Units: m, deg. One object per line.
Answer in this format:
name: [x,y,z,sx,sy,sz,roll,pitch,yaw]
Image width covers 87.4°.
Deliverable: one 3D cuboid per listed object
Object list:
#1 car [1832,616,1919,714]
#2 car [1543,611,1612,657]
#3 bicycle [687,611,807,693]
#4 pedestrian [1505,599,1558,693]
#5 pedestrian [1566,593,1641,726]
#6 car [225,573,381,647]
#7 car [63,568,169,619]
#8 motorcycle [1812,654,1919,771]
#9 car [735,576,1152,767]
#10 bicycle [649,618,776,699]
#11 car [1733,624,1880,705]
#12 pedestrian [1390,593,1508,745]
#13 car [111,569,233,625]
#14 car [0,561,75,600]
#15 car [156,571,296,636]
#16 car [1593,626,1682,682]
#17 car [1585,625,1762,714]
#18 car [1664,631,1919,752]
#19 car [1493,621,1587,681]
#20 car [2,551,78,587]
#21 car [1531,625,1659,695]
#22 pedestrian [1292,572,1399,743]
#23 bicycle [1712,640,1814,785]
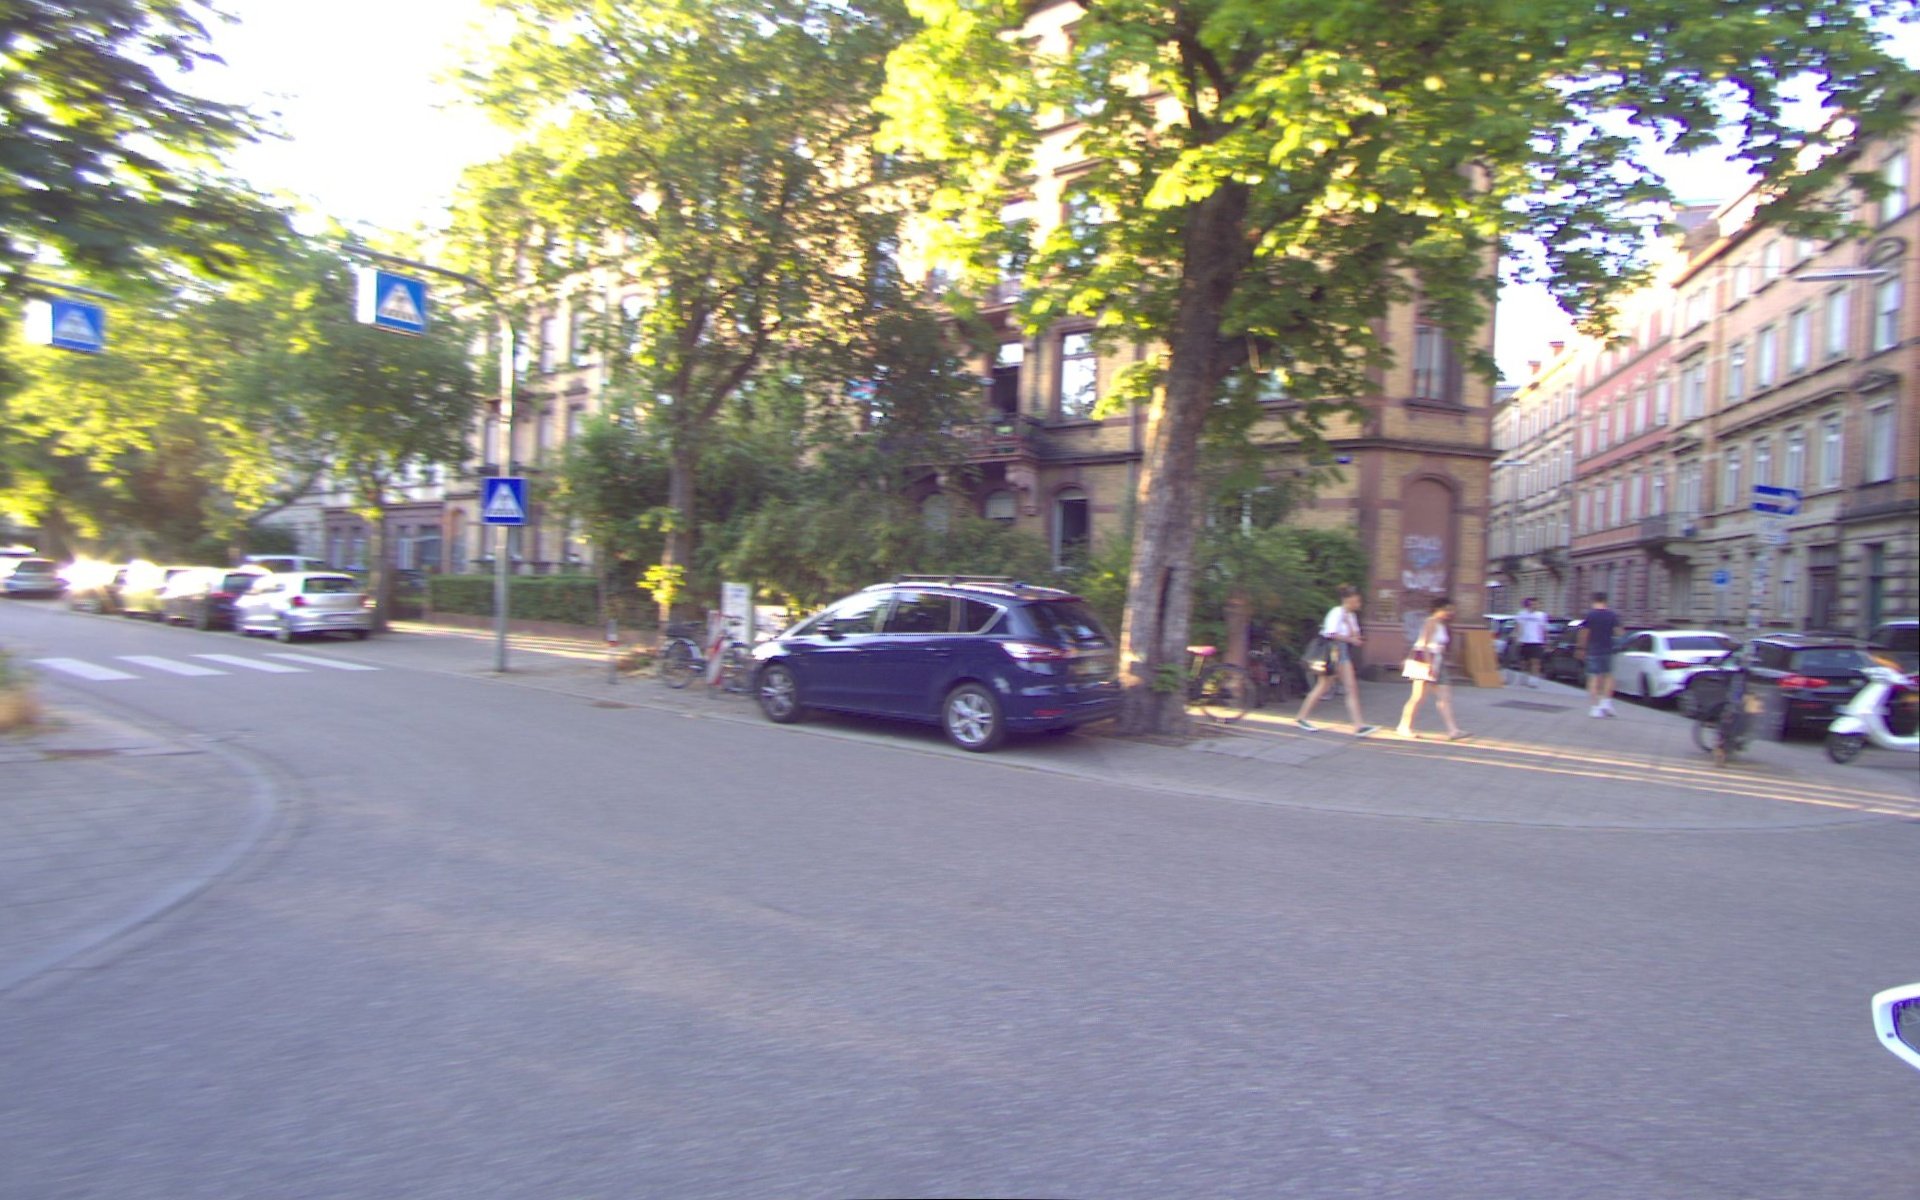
car: [19.490,1.278,20.225,1.655,1.847,3.489,1,-1,18]
car: [25.995,1.398,42.364,1.655,1.847,3.489,1,-1,18]
bicycle: [-3.238,0.765,15.204,1.774,1.108,0.605,2,2,26]
pedestrian: [11.955,0.939,21.035,0.766,1.848,0.924,6,4,27]
pedestrian: [9.503,0.852,14.830,0.677,1.848,0.789,7,4,40]
car: [-14.511,0.160,22.130,3.692,1.461,1.612,2,3,35]
car: [-26.247,-0.232,31.220,4.038,1.461,1.612,2,1,36]
motorcycle: [10.994,1.295,11.505,1.830,1.273,0.471,1,0,36]
car: [-0.314,0.630,11.332,4.518,1.710,1.865,2,1,37]
bicycle: [-3.587,0.822,14.532,1.773,1.051,0.605,2,2,23]
car: [21.626,1.583,25.837,1.655,1.847,3.489,1,-1,18]
pedestrian: [5.655,0.774,11.664,1.031,1.652,0.688,2,0,12]
car: [-22.307,-0.118,28.389,4.240,1.461,1.612,2,1,36]
car: [-36.354,-0.779,39.427,4.038,1.461,1.612,2,1,36]
car: [-18.279,0.031,24.954,4.240,1.461,1.612,2,1,36]
car: [24.031,1.868,35.758,1.655,1.847,3.489,1,-1,18]
car: [13.858,1.274,19.800,1.548,1.478,4.426,1,-1,18]
car: [12.365,1.247,15.115,1.752,1.478,4.019,1,-1,18]
car: [17.089,1.444,29.763,1.548,1.593,4.120,1,-1,18]
car: [-39.395,-1.308,42.989,4.038,1.461,1.612,2,1,36]
car: [15.333,1.369,24.480,1.548,1.478,4.426,1,-1,18]
pedestrian: [4.418,0.639,11.575,0.989,1.859,0.688,2,0,12]
bicycle: [8.715,1.160,10.882,1.787,1.411,0.512,1,2,-42]
